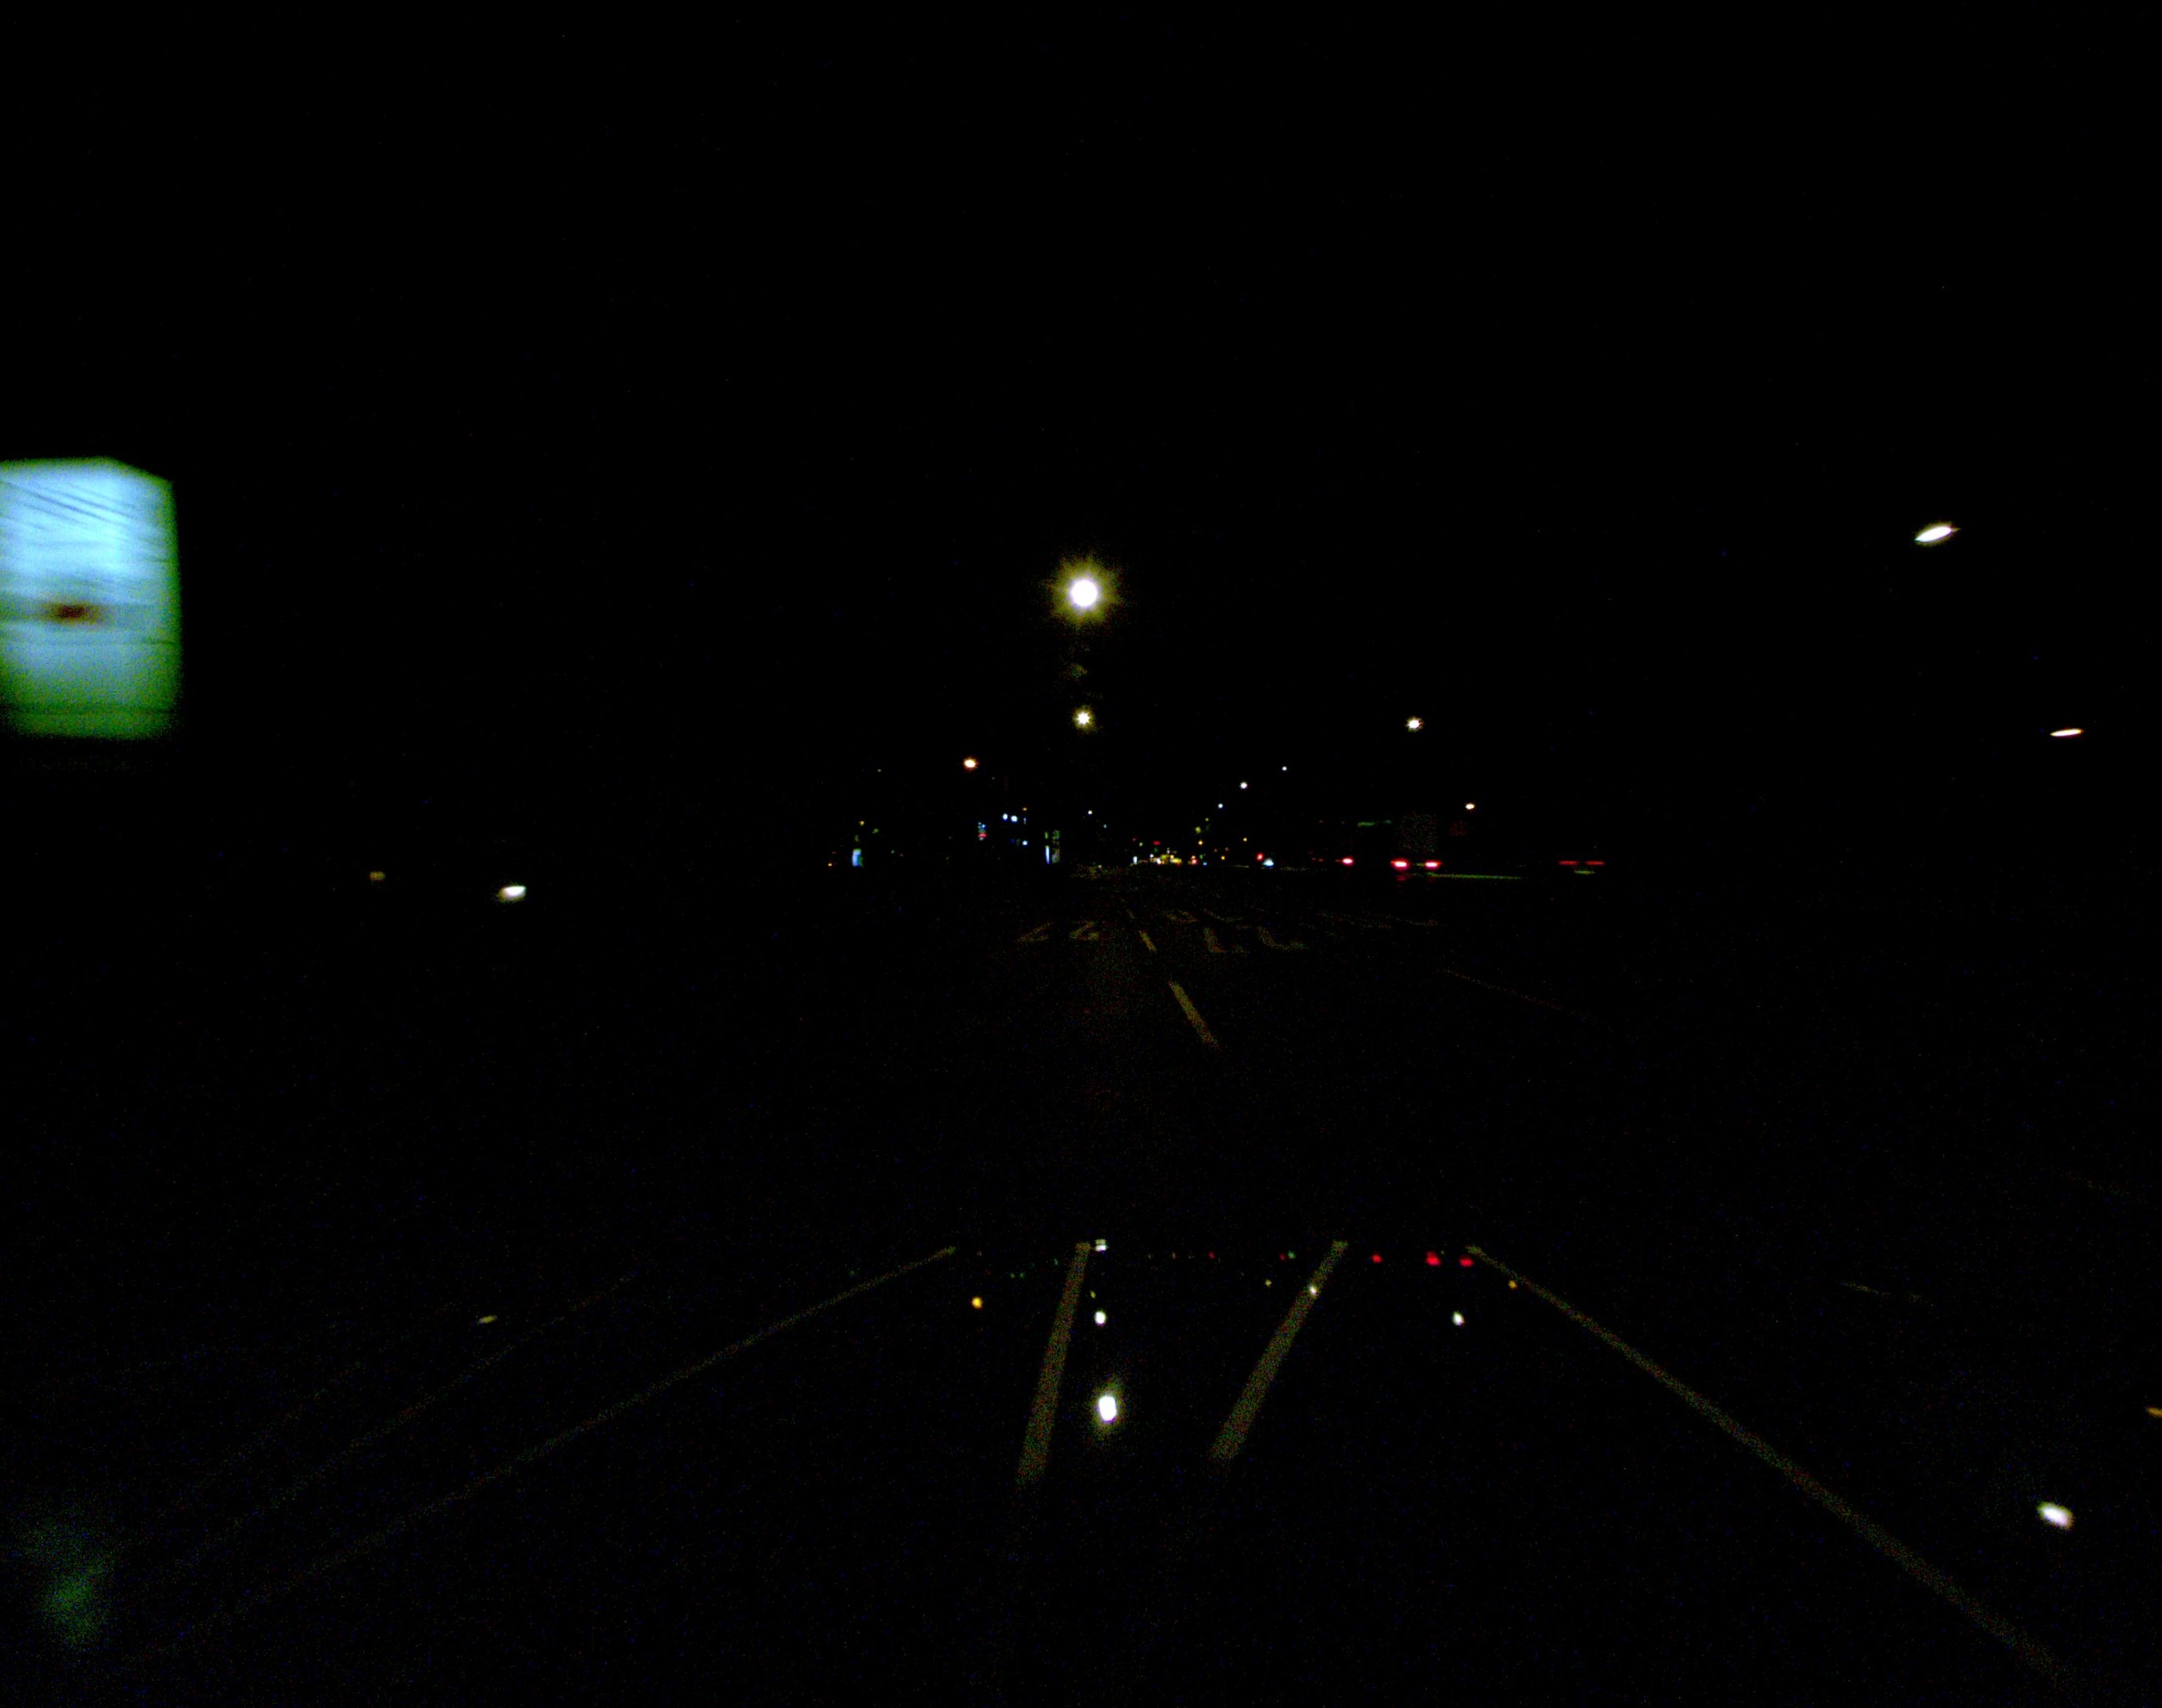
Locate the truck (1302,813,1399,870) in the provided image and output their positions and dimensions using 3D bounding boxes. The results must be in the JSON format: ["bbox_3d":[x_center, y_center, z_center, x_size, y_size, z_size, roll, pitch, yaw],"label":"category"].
[{"bbox_3d":[20.760,-0.971,59.360,3.690,3.932,10.419,-2,1,0],"label":"truck"}]

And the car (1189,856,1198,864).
[{"bbox_3d":[28.825,1.491,194.344,2.059,2.002,4.002,-2,1,9],"label":"car"}]

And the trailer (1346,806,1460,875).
[{"bbox_3d":[20.806,-0.858,49.851,3.706,3.967,8.393,-2,1,-1],"label":"trailer"}]

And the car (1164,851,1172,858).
[{"bbox_3d":[23.011,0.123,201.214,1.794,1.896,4.001,-2,1,5],"label":"car"}]

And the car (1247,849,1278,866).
[{"bbox_3d":[17.178,0.344,72.192,1.809,1.490,4.084,-1,1,-2],"label":"car"}]

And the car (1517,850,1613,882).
[{"bbox_3d":[23.743,0.572,37.502,1.991,1.472,4.203,1,0,-1],"label":"car"}]

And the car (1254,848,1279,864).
[{"bbox_3d":[20.288,0.183,83.291,1.730,1.616,3.961,-2,1,1],"label":"car"}]
